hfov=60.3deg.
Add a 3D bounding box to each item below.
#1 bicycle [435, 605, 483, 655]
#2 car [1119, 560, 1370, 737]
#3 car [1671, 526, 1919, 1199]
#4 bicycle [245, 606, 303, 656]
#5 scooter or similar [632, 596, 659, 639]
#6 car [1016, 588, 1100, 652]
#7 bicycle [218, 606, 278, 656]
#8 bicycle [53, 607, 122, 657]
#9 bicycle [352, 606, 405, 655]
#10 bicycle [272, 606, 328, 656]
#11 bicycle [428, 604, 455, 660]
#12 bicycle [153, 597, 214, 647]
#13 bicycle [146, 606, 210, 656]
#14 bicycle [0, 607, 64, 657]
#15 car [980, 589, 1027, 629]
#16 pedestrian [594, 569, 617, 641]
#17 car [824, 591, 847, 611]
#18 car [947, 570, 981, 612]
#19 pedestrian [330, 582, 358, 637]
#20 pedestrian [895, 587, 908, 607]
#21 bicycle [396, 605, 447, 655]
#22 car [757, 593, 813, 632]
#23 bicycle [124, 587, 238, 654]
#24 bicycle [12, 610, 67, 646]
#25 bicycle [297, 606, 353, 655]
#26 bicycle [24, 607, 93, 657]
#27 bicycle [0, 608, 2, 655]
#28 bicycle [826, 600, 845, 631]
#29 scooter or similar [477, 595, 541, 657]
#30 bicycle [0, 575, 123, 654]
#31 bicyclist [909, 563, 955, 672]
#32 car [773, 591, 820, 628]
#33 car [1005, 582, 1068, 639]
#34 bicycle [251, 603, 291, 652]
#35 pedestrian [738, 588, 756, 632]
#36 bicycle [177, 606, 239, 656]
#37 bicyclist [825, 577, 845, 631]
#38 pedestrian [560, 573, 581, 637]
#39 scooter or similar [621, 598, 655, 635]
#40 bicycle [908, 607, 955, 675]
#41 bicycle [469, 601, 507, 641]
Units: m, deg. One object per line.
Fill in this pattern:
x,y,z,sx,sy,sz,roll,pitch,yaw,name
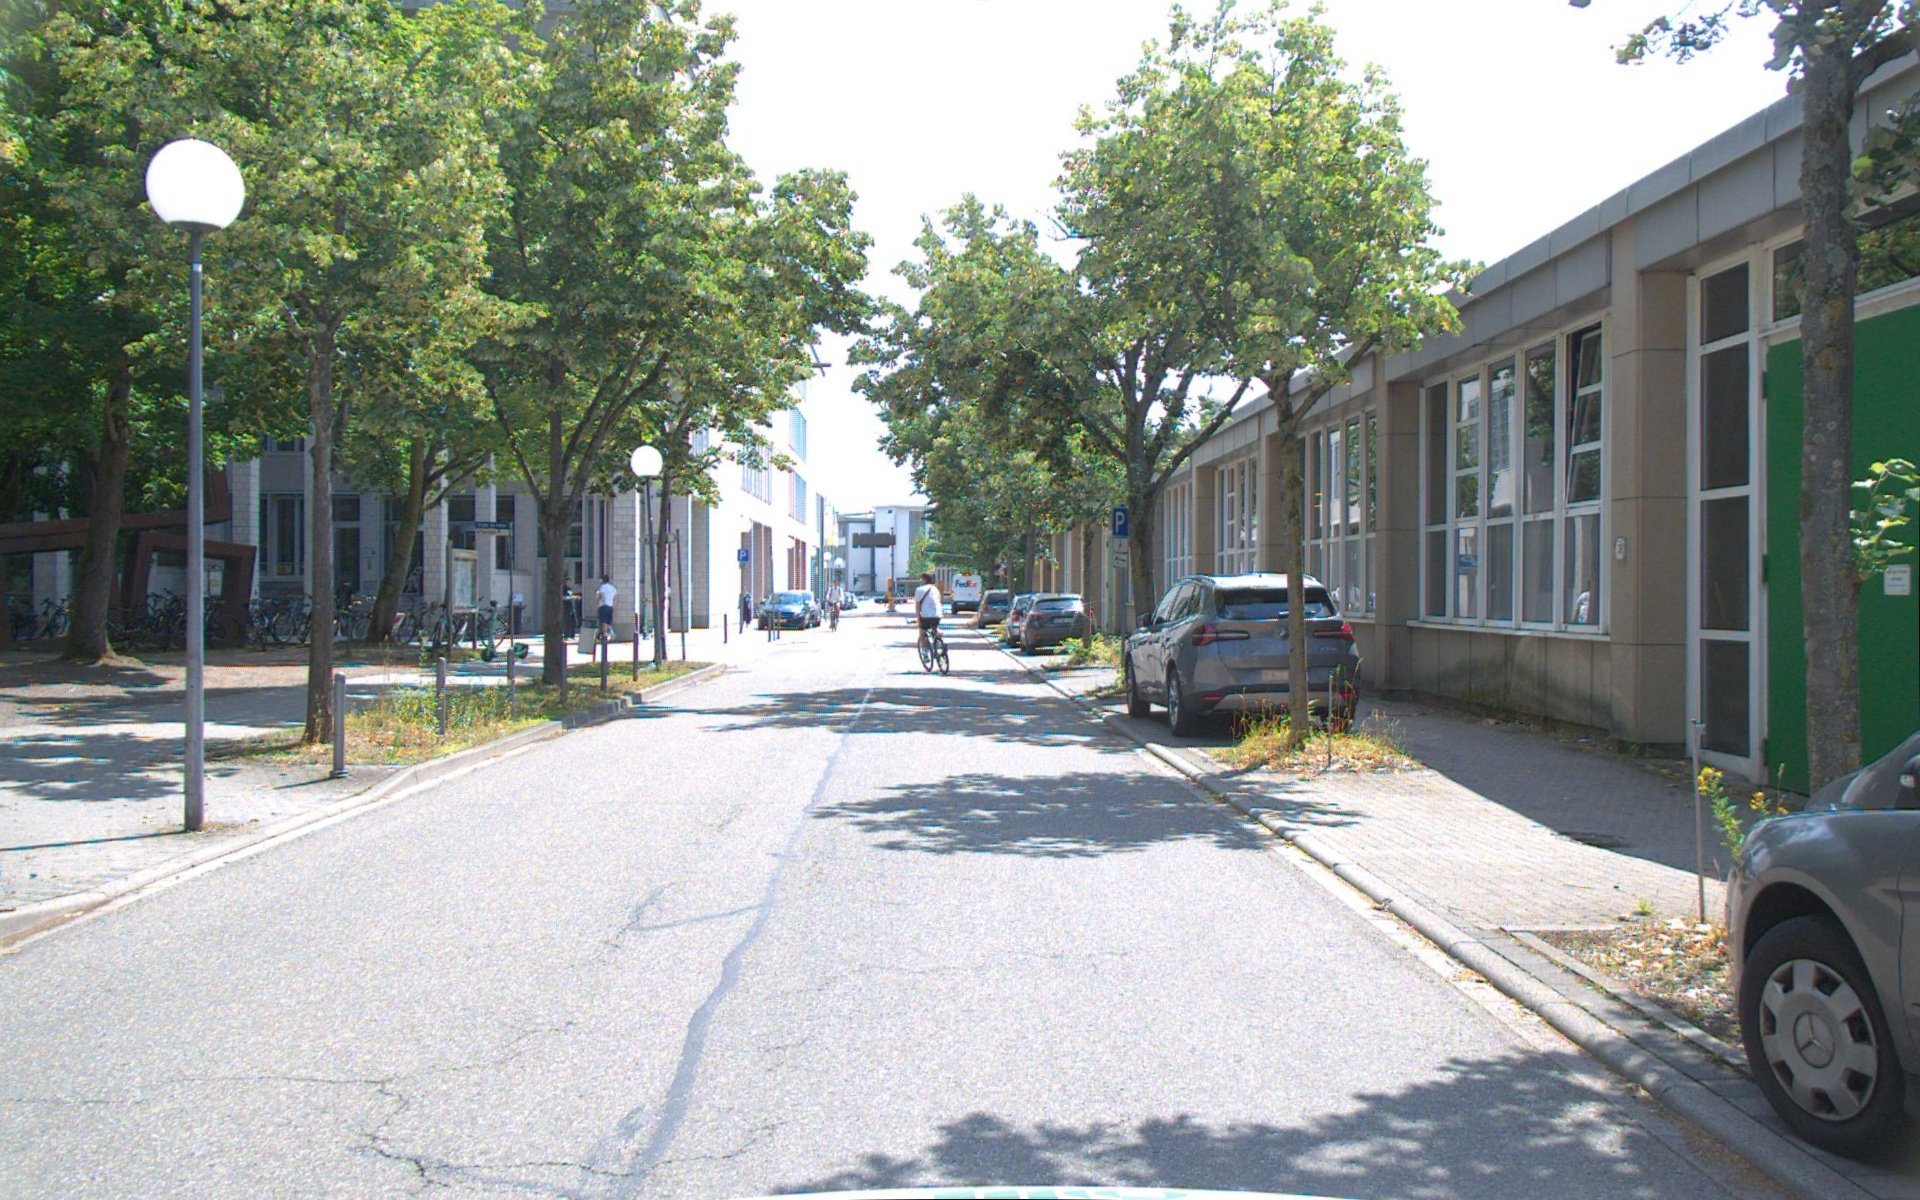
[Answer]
-11.678,0.678,38.618,0.541,1.105,1.972,2,0,-1,bicycle
3.031,0.502,18.614,1.786,1.693,4.581,-1,-1,-3,car
3.130,0.613,3.051,1.670,1.601,4.138,-1,0,-3,car
-15.977,0.703,38.547,0.541,1.105,1.972,2,0,-1,bicycle
-9.294,0.497,48.979,0.445,1.245,1.549,0,0,2,scooter or similar
2.436,0.472,42.144,1.745,1.502,4.460,-1,0,-1,car
-16.620,0.710,38.655,0.541,1.105,1.972,2,0,-1,bicycle
-20.210,0.724,38.347,0.541,1.105,1.972,2,0,-1,bicycle
-13.712,0.703,39.048,0.541,1.105,1.972,2,0,-1,bicycle
-15.382,0.701,38.593,0.541,1.105,1.972,2,0,-1,bicycle
-10.150,0.612,32.386,0.375,1.043,1.809,0,0,-13,bicycle
-16.884,0.458,35.983,0.466,1.050,1.850,0,0,-1,bicycle
-18.127,0.712,38.374,0.541,1.105,1.972,2,0,-1,bicycle
-21.600,0.734,38.392,0.541,1.105,1.972,2,0,-1,bicycle
1.815,0.360,70.149,1.821,1.601,3.999,-1,0,-1,car
-9.915,0.134,46.273,0.408,1.975,0.656,1,0,-30,pedestrian
-9.845,0.100,130.706,1.612,1.524,3.727,0,-2,-2,car
0.257,-0.581,107.557,2.041,2.584,4.314,1,0,-2,car
-18.995,0.290,50.998,0.629,1.690,0.684,0,0,-39,pedestrian
-6.257,-0.338,176.964,1.389,2.144,0.994,1,0,-5,pedestrian
-12.615,0.689,38.783,0.541,1.105,1.972,2,0,-1,bicycle
-6.832,0.483,65.018,1.730,1.452,4.234,0,0,0,car
-15.477,0.400,32.885,1.996,1.275,0.580,-1,1,-34,bicycle
-25.857,0.782,46.483,0.515,0.962,1.993,0,0,-2,bicycle
-14.830,0.699,38.675,0.541,1.105,1.972,2,0,-1,bicycle
-20.983,0.734,38.545,0.541,1.105,1.972,2,0,-1,bicycle
-23.056,0.742,38.361,0.541,1.105,1.972,2,0,-1,bicycle
-4.772,0.584,63.319,0.671,1.149,1.887,0,0,-3,bicycle
-8.979,0.515,32.983,0.333,1.196,1.324,1,0,33,scooter or similar
-17.310,0.276,31.628,2.264,1.475,0.599,0,0,-35,bicycle
-0.535,0.335,31.627,0.855,2.049,0.849,0,0,-1,bicyclist
-6.889,0.411,69.900,1.598,1.511,4.177,0,0,-1,car
2.163,0.275,47.701,1.583,1.565,3.779,0,0,-1,car
-14.187,0.557,34.092,0.467,0.982,1.651,0,0,-12,bicycle
-8.394,0.398,65.243,0.638,1.731,0.887,1,0,-12,pedestrian
-17.441,0.708,38.407,0.541,1.105,1.972,2,0,-1,bicycle
-4.772,0.161,63.346,0.697,2.049,1.018,-1,0,-4,bicyclist
-11.072,0.141,46.992,0.437,1.806,0.446,1,0,-32,pedestrian
-10.943,0.541,56.186,0.521,1.231,1.536,0,0,-38,scooter or similar
-0.541,0.751,31.693,0.864,1.220,2.749,0,0,-1,bicycle
-13.421,0.597,47.070,0.455,1.032,1.865,1,2,2,bicycle
